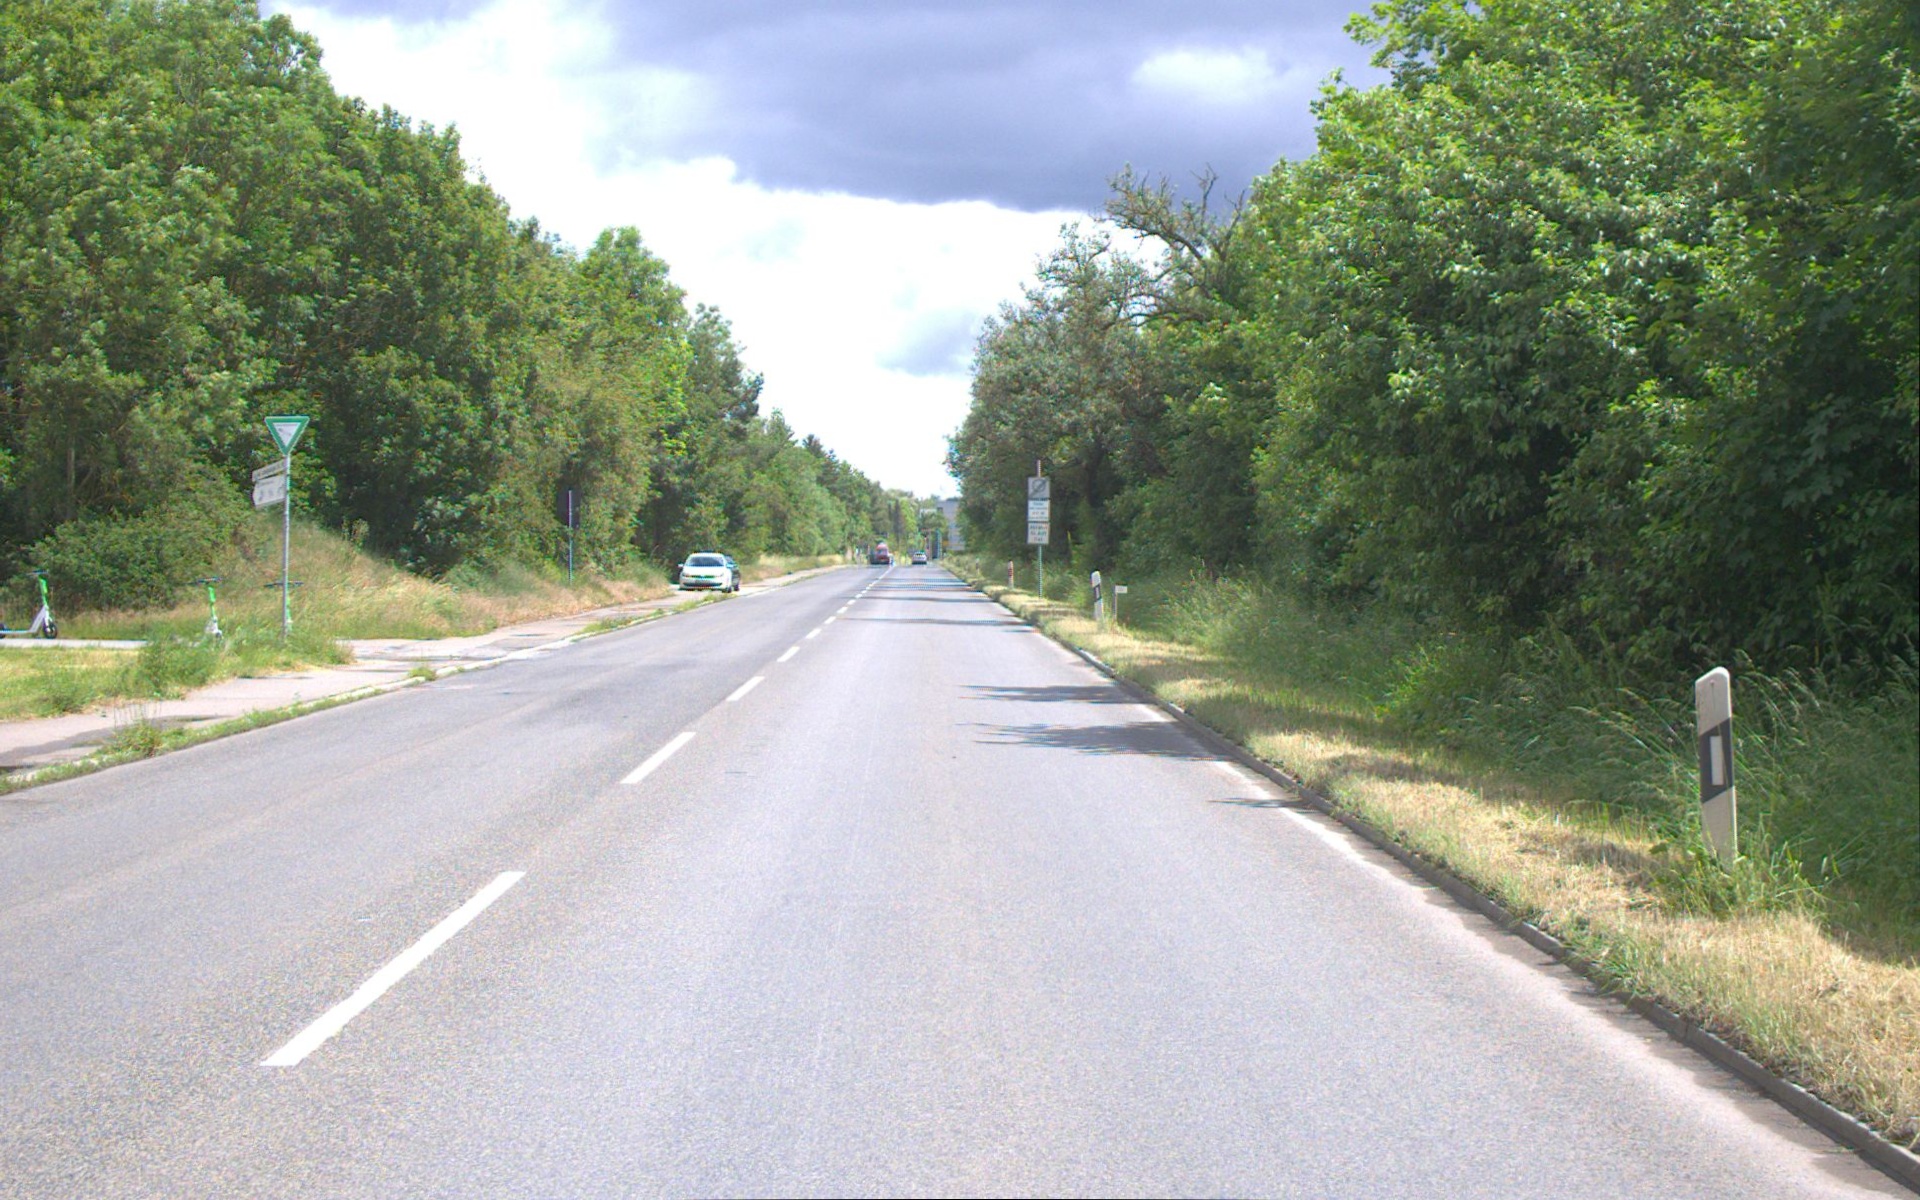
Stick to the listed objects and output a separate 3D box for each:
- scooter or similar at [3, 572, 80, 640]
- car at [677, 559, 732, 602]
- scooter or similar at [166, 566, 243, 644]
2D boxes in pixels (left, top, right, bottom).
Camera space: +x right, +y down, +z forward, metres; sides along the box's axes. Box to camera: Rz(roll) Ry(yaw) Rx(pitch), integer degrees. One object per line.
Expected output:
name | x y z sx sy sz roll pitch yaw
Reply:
scooter or similar | -15.882 0.103 59.456 1.244 1.165 0.407 1 1 12
car | -9.417 -0.711 126.958 1.798 1.538 3.955 0 -1 -1
scooter or similar | -11.520 0.076 52.405 1.350 1.165 0.406 1 1 40
